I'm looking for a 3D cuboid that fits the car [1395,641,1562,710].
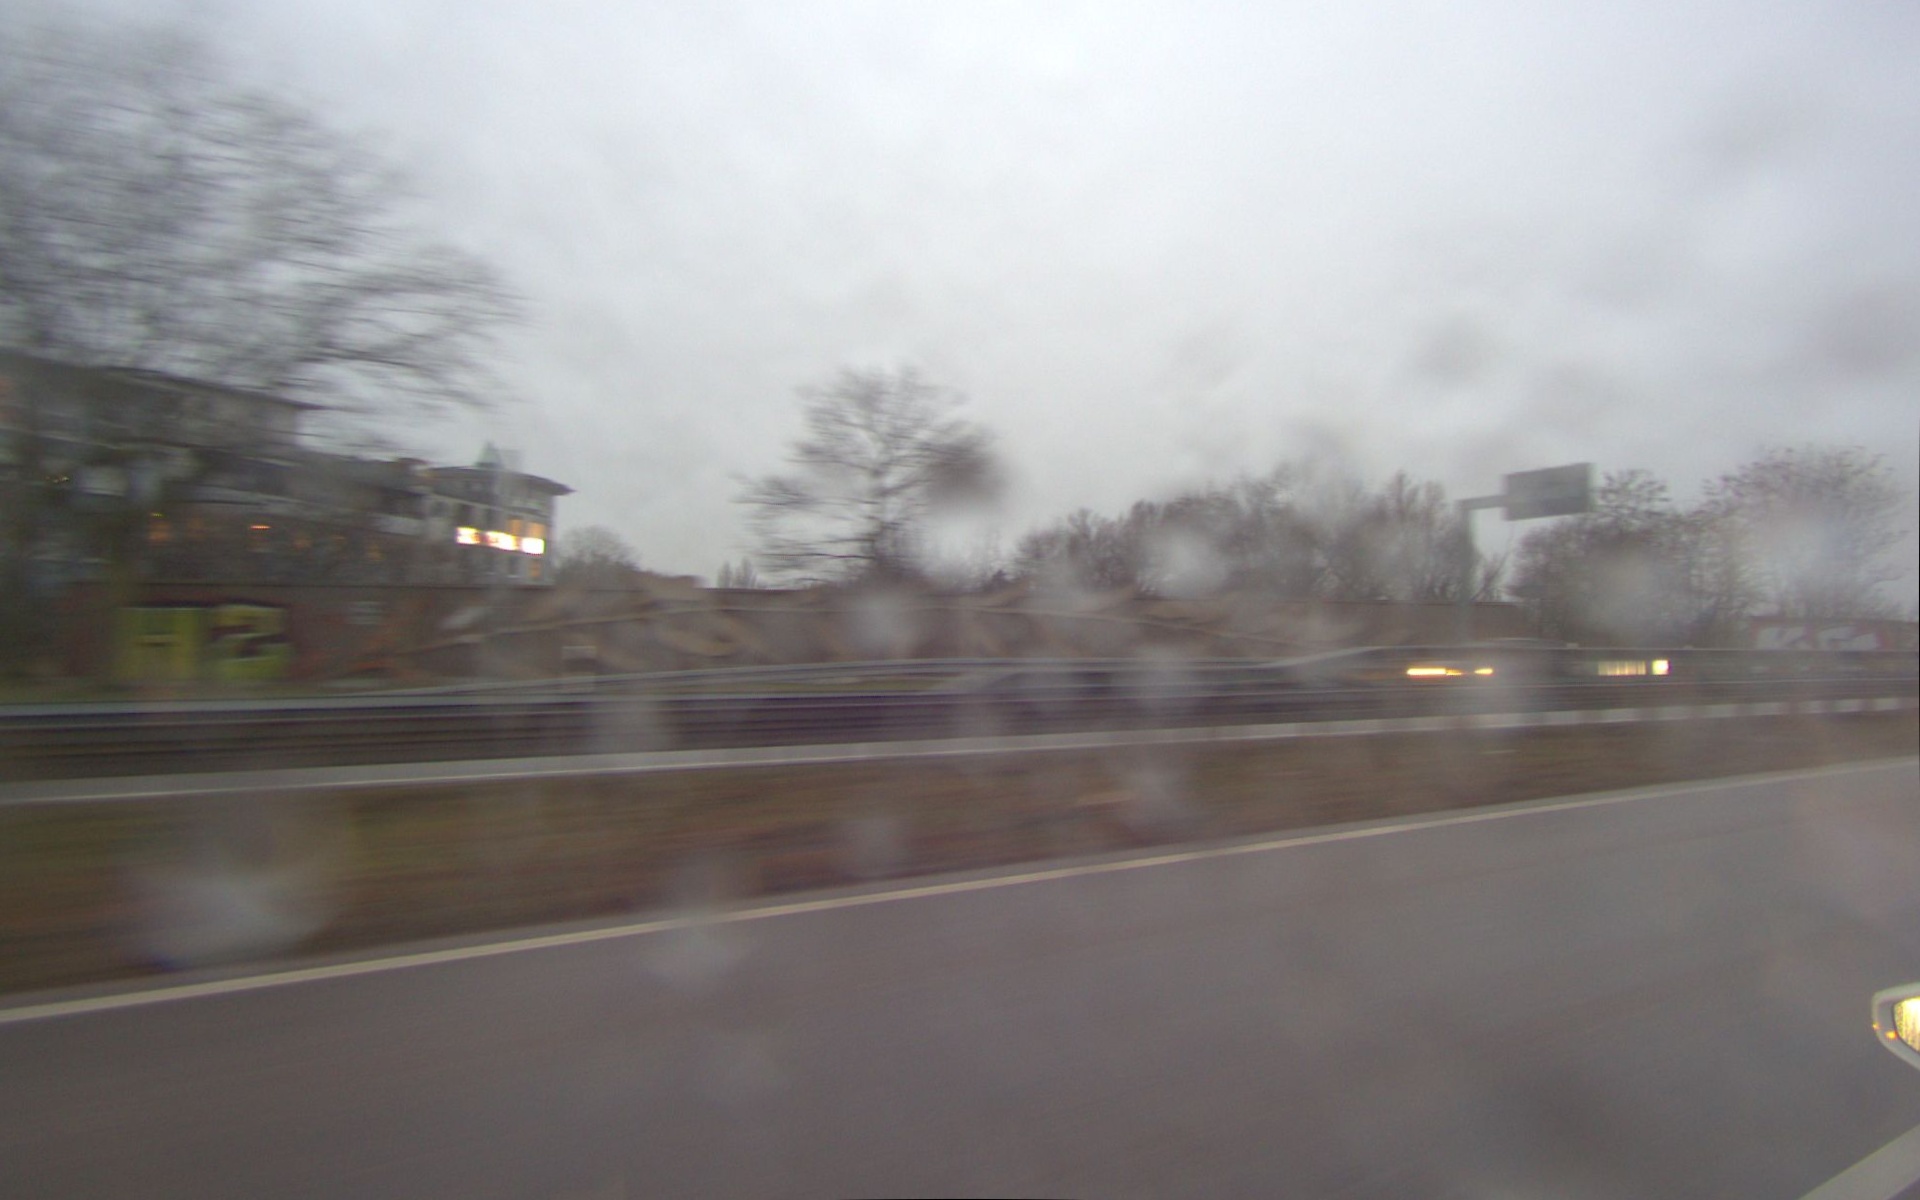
[{"bbox_3d":[11.995,1.692,23.220,3.594,1.428,1.748,2,-1,-29],"label":"car"}]
